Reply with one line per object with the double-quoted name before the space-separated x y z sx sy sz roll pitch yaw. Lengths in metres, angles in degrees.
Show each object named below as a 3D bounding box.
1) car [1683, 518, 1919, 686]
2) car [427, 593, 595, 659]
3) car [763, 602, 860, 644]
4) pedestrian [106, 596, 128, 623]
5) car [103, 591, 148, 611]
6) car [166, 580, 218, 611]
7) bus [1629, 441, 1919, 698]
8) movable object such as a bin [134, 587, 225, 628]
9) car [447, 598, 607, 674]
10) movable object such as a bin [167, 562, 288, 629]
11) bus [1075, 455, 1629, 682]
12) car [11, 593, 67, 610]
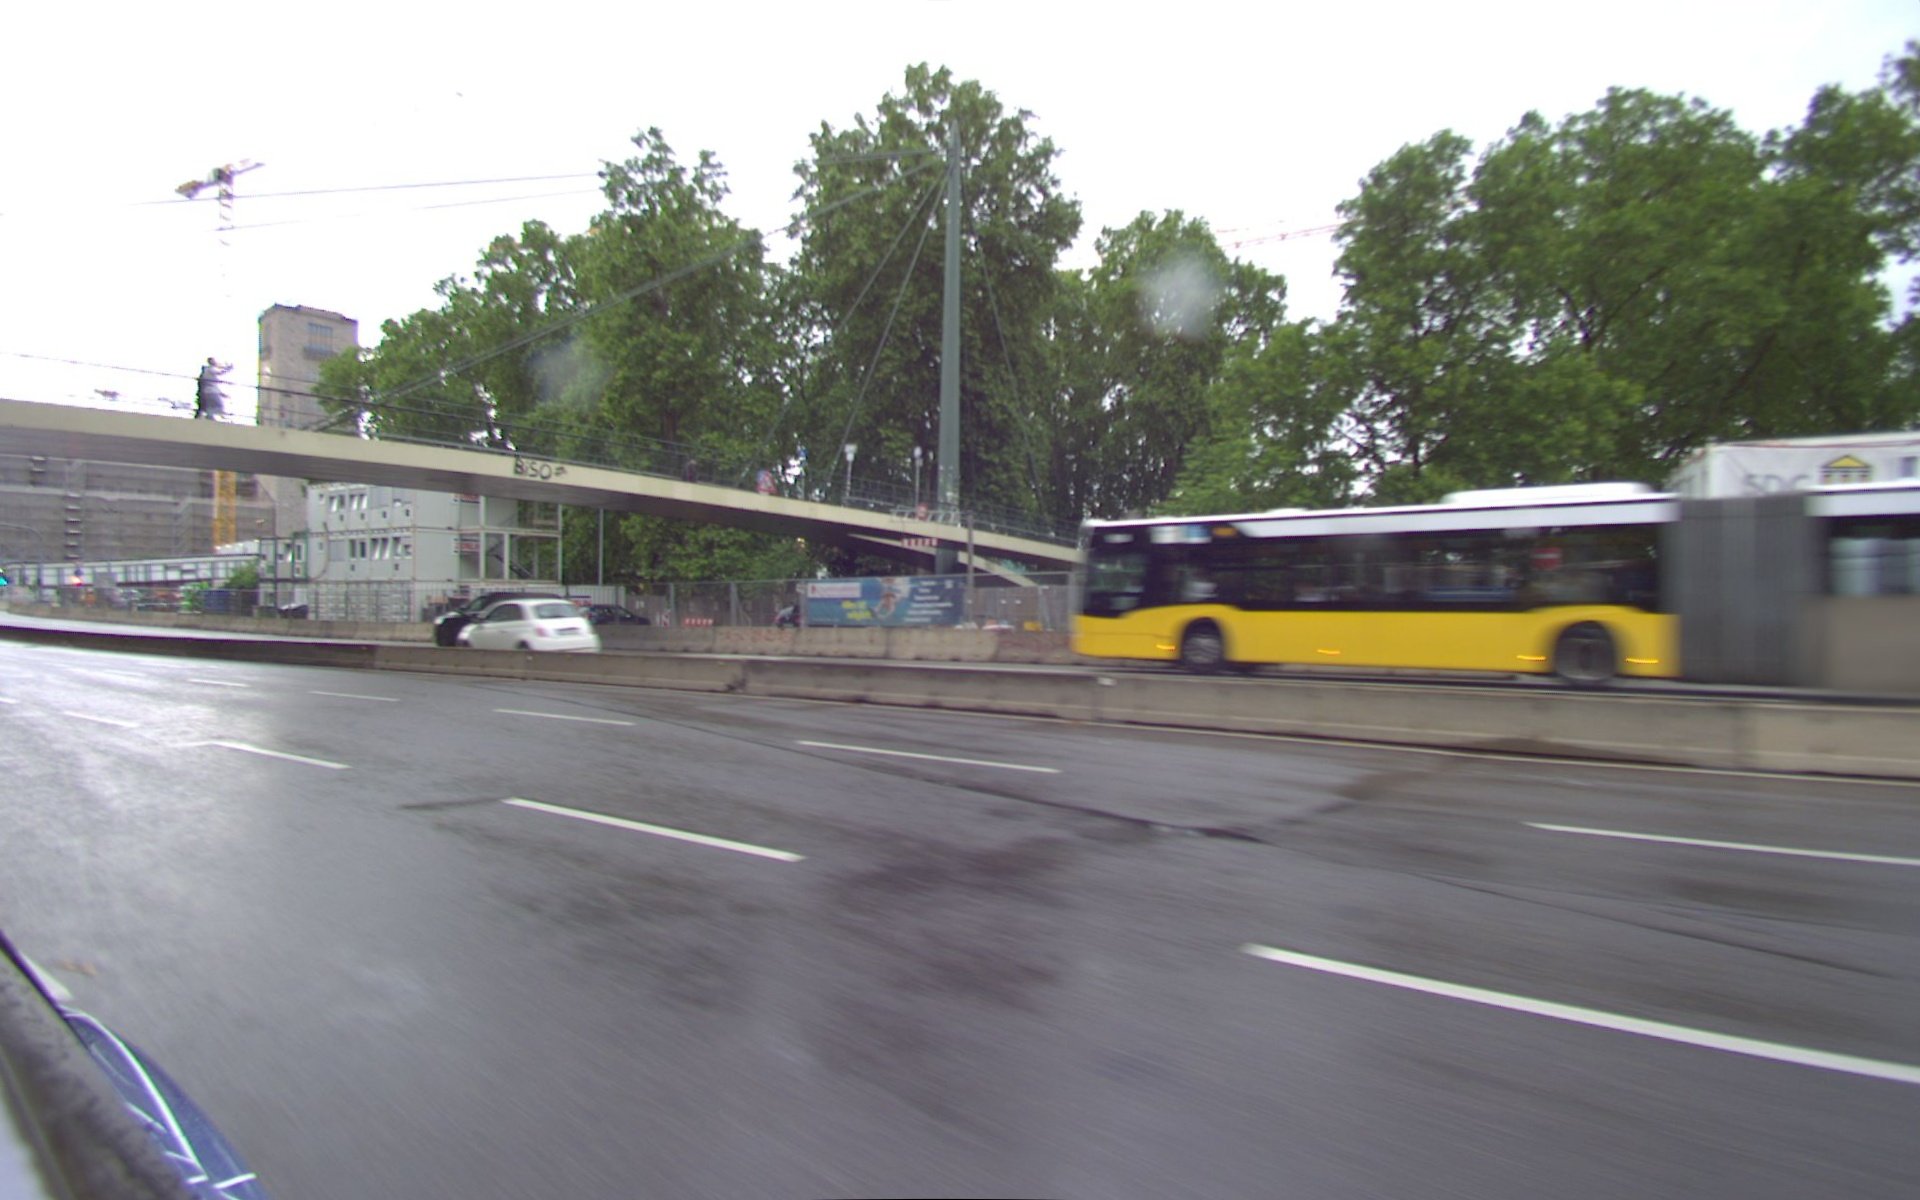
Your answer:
"car" 17.044 0.056 18.393 1.965 2.897 6.071 2 -1 -28
"car" -12.394 0.704 27.811 4.842 1.643 2.063 -1 -2 36
"car" -6.231 0.967 42.869 1.948 1.640 4.399 0 -1 26
"pedestrian" -64.022 0.708 76.832 1.174 2.029 1.167 1 1 43
"car" -78.856 0.122 95.622 4.782 1.775 1.831 1 -1 33
"car" -81.579 -0.483 107.425 6.148 3.089 2.257 1 -1 32
"bus" 13.906 -0.361 12.699 9.130 3.175 2.680 0 -1 36
"movable object such as a bin" -63.437 0.628 82.239 6.369 3.152 3.901 1 -1 33
"car" -9.539 0.744 22.244 3.444 1.500 1.694 1 -1 36
"movable object such as a bin" -55.943 -0.371 77.242 8.334 4.839 4.712 1 -1 33
"bus" 6.588 -0.401 17.953 8.785 3.209 2.782 0 -1 35
"car" -114.503 0.170 125.853 4.951 2.029 2.002 1 -1 -3
